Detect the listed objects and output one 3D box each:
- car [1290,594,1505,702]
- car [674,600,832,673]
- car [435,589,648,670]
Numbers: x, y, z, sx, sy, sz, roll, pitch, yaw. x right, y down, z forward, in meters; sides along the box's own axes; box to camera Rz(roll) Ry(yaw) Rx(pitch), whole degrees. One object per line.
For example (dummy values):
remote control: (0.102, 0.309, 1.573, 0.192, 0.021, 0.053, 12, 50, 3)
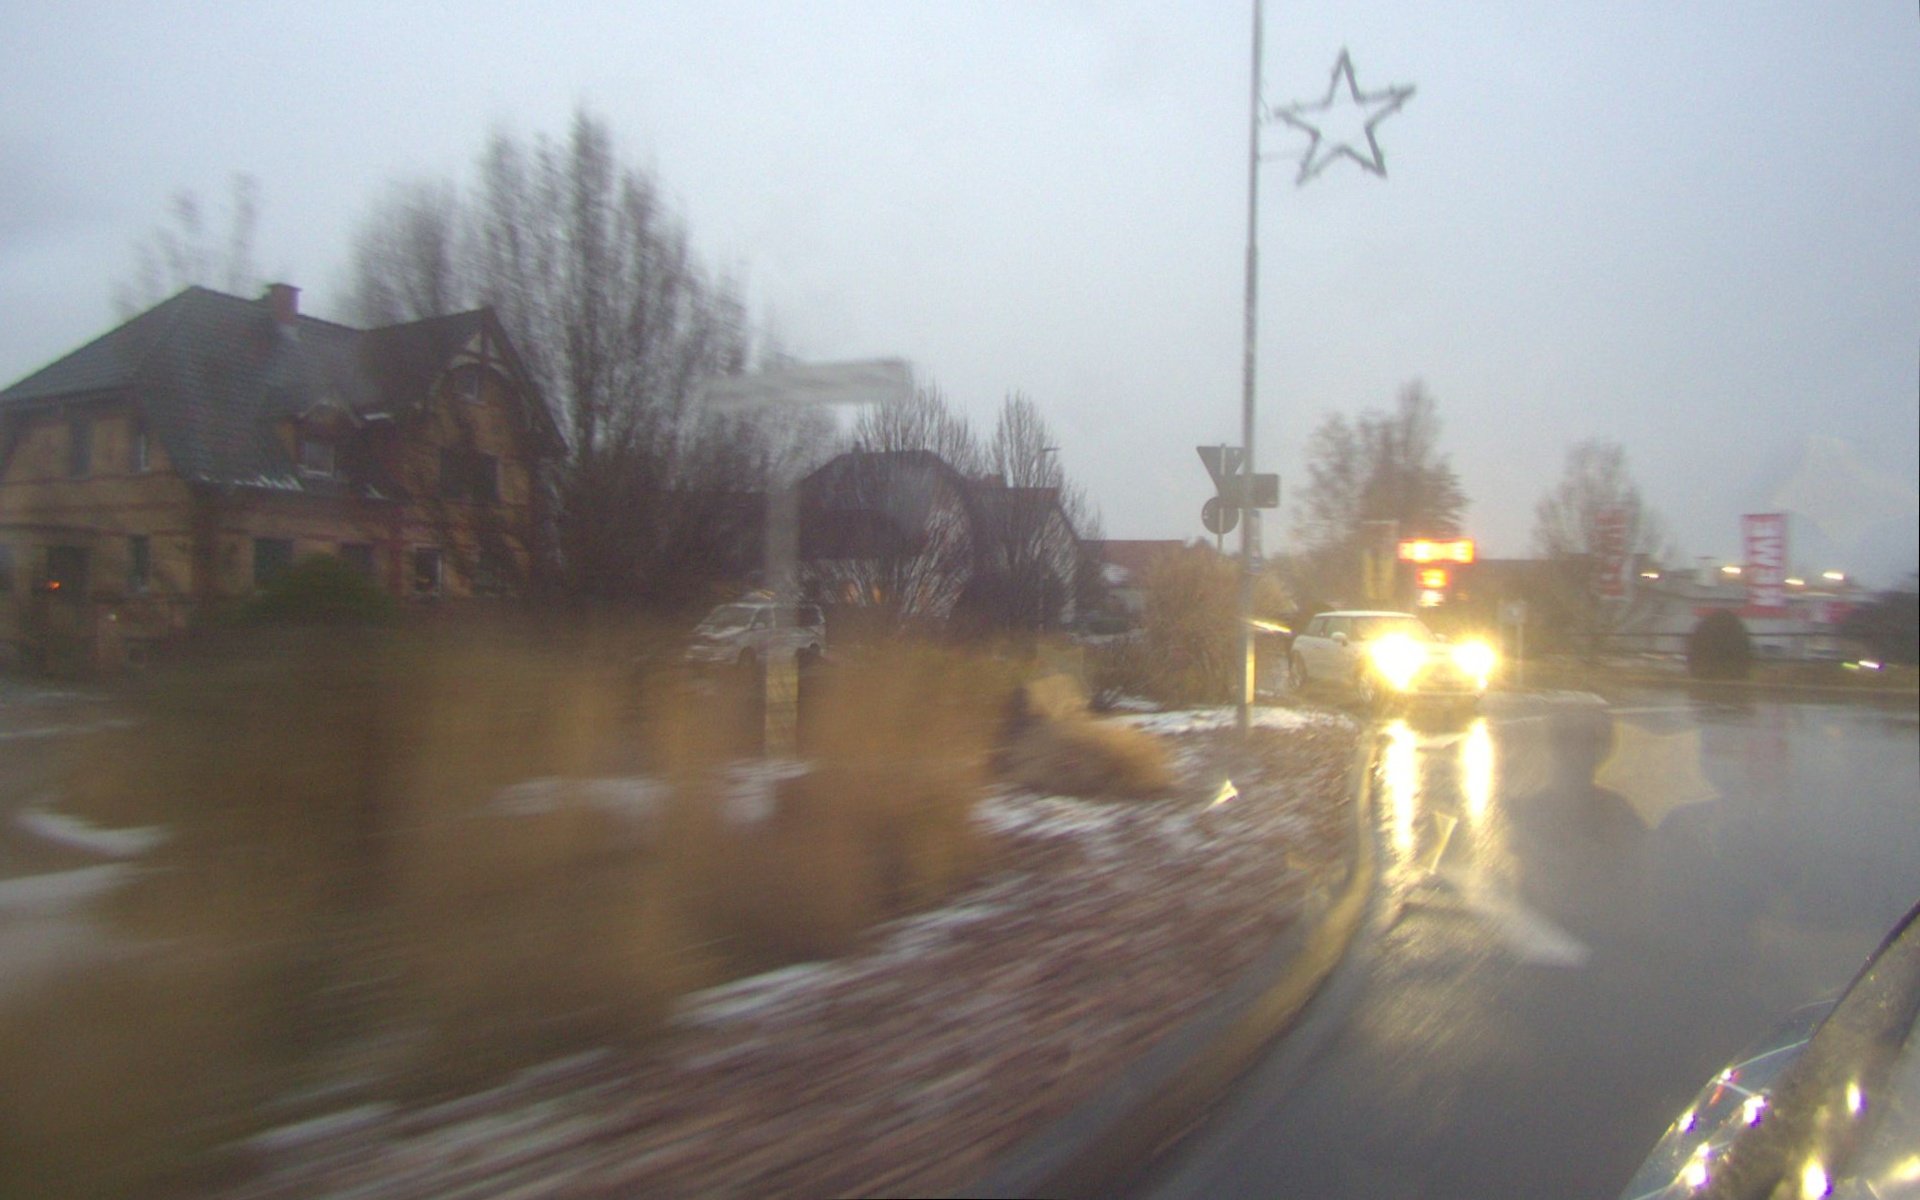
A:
car: (6.792, 0.712, 16.157, 1.630, 1.511, 3.712, 0, -1, -3)
car: (-6.004, 1.033, 30.040, 1.918, 1.943, 5.201, -1, -1, 25)
car: (-11.284, 0.687, 27.805, 2.342, 1.888, 5.289, 2, 2, 24)
